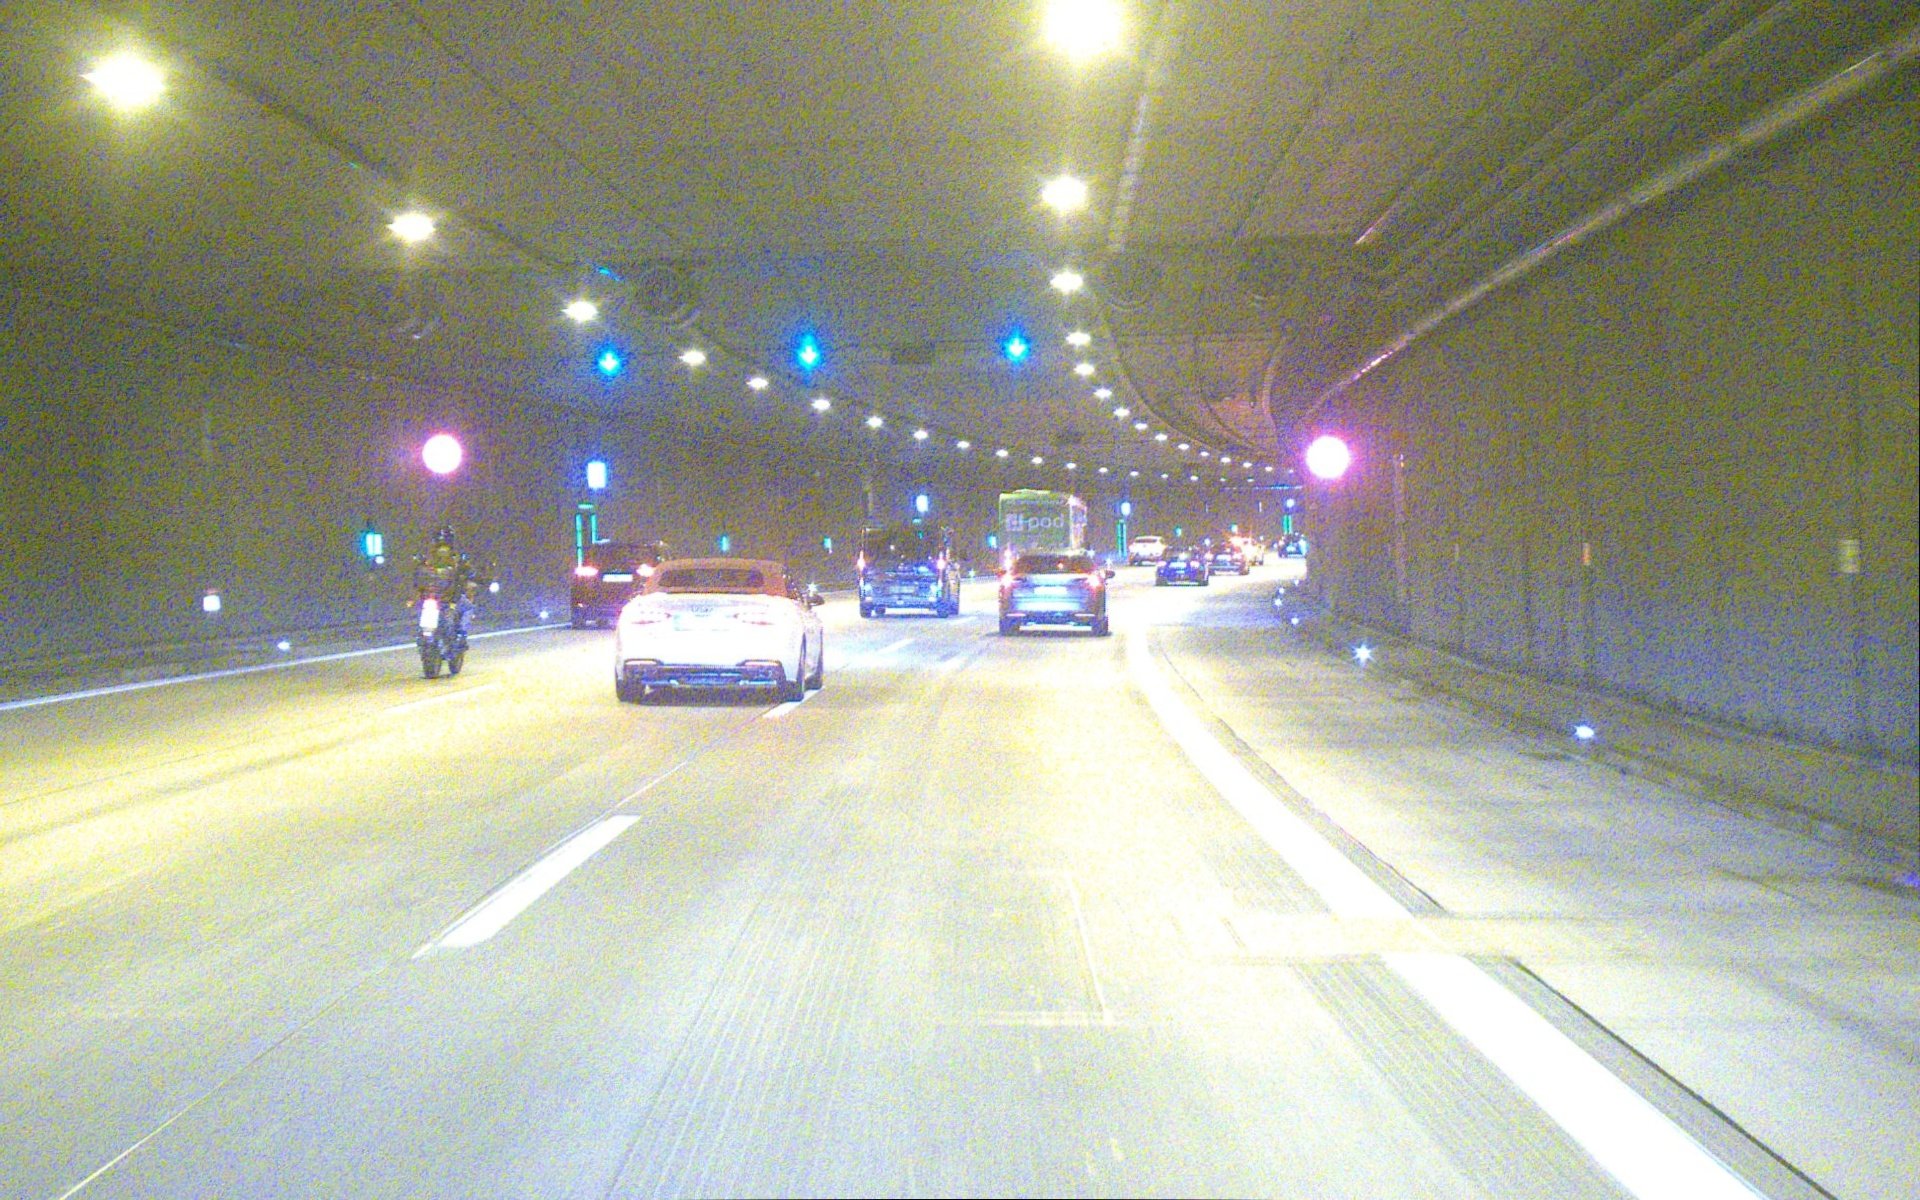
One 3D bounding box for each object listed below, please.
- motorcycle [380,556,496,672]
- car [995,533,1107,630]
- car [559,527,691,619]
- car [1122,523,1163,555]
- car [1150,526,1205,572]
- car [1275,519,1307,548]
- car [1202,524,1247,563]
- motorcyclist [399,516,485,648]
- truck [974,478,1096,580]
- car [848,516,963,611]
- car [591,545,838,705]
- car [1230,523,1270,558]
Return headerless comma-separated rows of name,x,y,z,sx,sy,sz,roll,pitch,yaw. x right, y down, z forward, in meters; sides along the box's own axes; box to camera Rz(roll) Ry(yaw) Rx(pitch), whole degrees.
motorcycle,-5.904,0.132,39.039,0.845,1.241,2.604,-1,1,1
car,1.583,-0.340,58.805,1.840,1.596,4.000,0,1,3
car,-5.993,-0.508,61.807,1.785,1.593,3.801,0,1,3
car,9.657,-3.239,181.726,1.831,1.612,3.999,-2,1,6
car,7.845,-1.854,124.198,1.844,1.562,4.000,-2,1,2
car,20.320,-4.105,210.967,1.834,1.685,3.999,-2,1,7
car,11.725,-2.517,152.172,1.859,1.660,3.999,-2,1,5
motorcyclist,-5.896,-0.210,39.193,0.839,1.472,0.821,0,2,1
truck,2.615,-2.478,116.449,3.083,3.102,10.028,-3,2,6
car,-1.135,-0.799,73.188,1.994,1.965,3.999,0,1,6
car,-2.387,0.206,34.346,1.994,1.478,4.000,1,1,3
car,15.521,-3.183,183.893,1.965,1.744,3.999,-2,1,6
